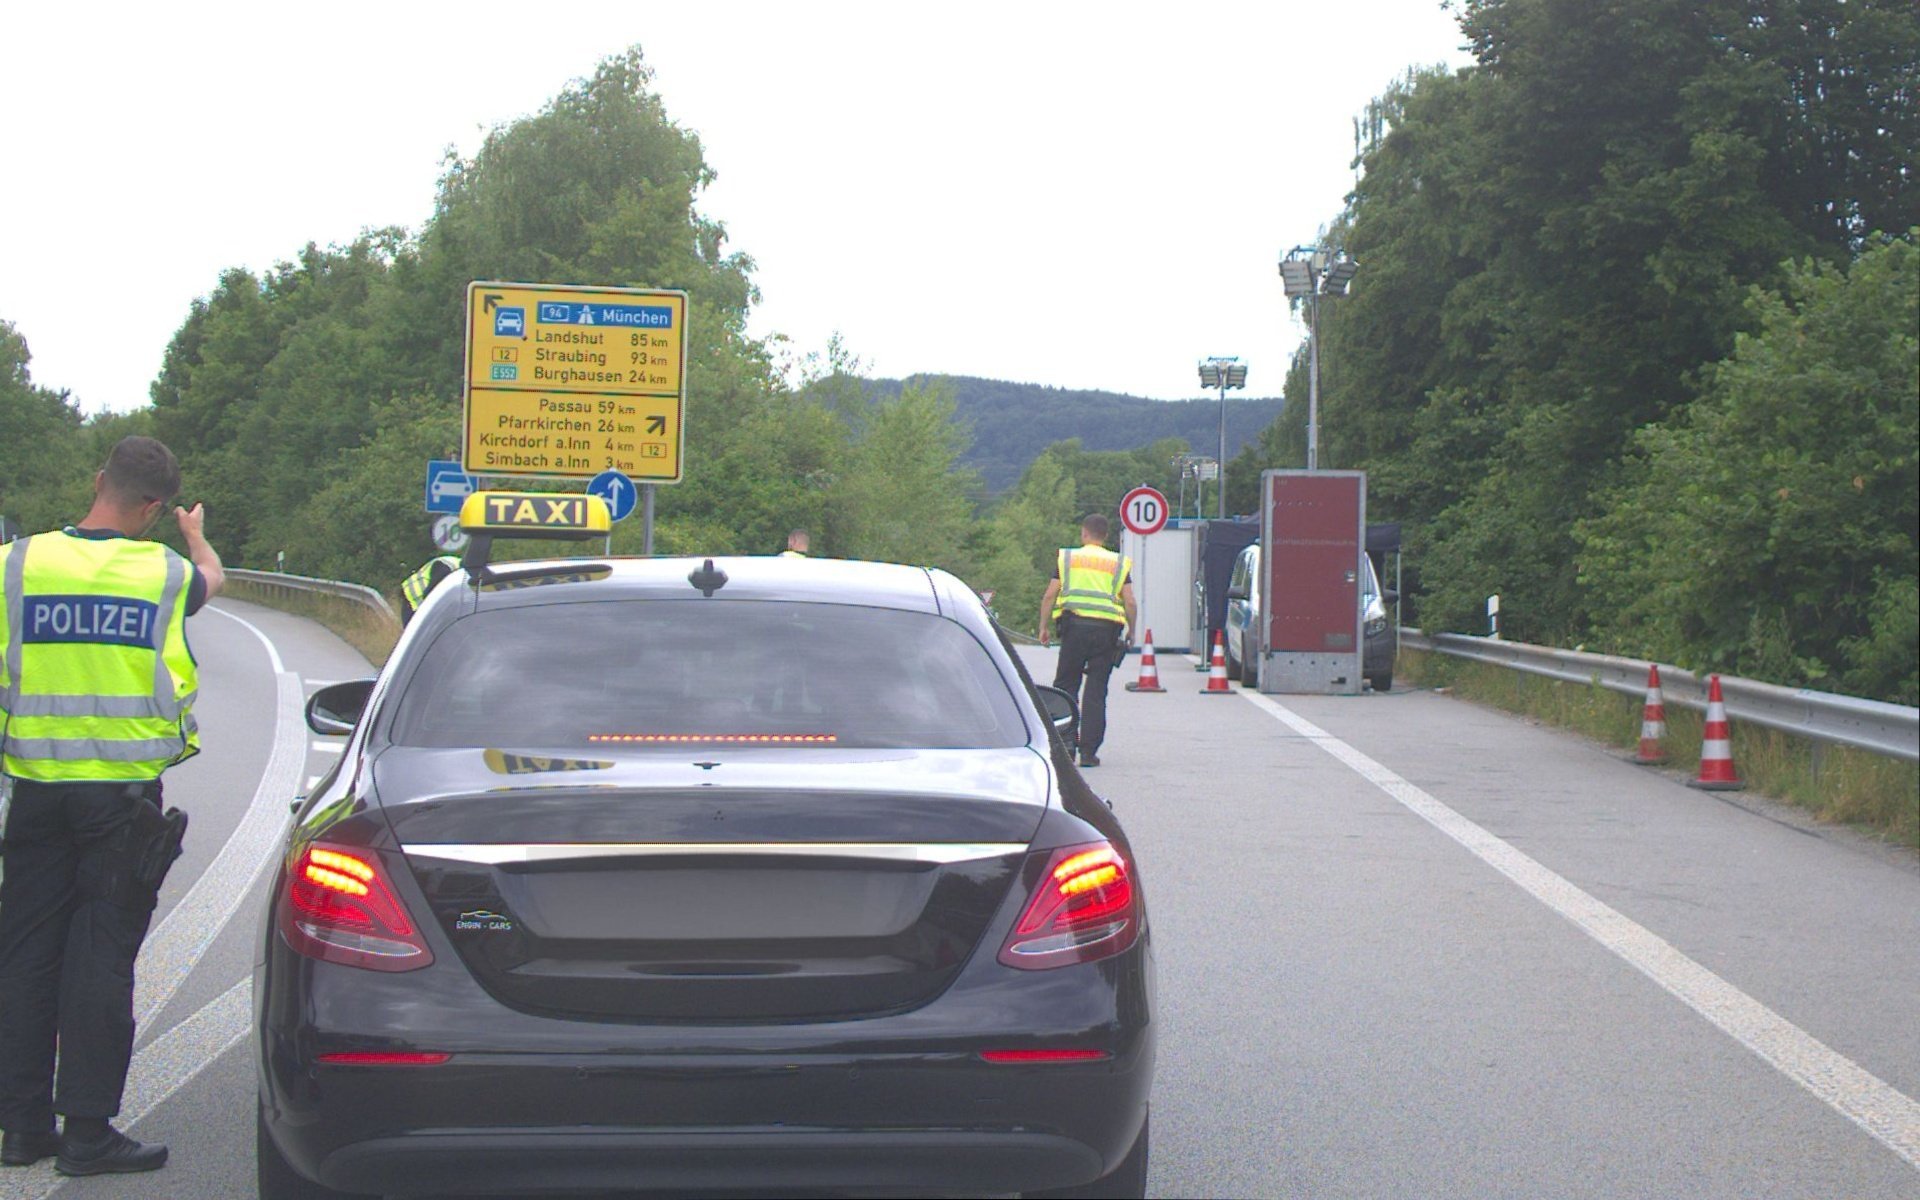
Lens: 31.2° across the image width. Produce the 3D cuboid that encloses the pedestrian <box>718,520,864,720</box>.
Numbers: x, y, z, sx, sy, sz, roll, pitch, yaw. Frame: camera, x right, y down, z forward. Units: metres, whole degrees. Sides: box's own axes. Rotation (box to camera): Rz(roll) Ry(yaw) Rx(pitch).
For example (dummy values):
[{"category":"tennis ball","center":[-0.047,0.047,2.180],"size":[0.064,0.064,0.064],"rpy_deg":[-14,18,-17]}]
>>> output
[{"category":"pedestrian","center":[-1.462,0.163,29.696],"size":[0.908,1.692,0.914],"rpy_deg":[0,1,-32]}]

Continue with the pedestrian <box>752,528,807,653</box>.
[{"category":"pedestrian","center":[-2.840,-0.151,54.140],"size":[0.664,1.954,0.759],"rpy_deg":[0,1,15]}]

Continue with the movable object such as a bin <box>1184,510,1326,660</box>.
[{"category":"movable object such as a bin","center":[4.646,-0.258,54.636],"size":[1.993,2.272,4.168],"rpy_deg":[1,1,2]}]

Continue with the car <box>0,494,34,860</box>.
[{"category":"car","center":[-5.385,0.381,15.038],"size":[1.868,1.737,4.009],"rpy_deg":[0,1,-4]}]

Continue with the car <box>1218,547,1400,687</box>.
[{"category":"car","center":[4.586,0.175,45.798],"size":[1.916,1.672,5.083],"rpy_deg":[2,1,1]}]

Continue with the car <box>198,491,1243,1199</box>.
[{"category":"car","center":[-0.617,0.571,8.321],"size":[1.855,1.589,4.376],"rpy_deg":[0,1,-5]}]

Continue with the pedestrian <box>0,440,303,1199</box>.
[{"category":"pedestrian","center":[-2.106,0.500,8.051],"size":[0.761,1.712,0.816],"rpy_deg":[1,1,37]}]

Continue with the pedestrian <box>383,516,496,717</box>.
[{"category":"pedestrian","center":[-4.650,0.136,30.774],"size":[0.910,1.763,0.912],"rpy_deg":[1,1,-3]}]

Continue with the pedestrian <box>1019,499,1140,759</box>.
[{"category":"pedestrian","center":[0.860,0.197,24.554],"size":[0.812,1.824,0.809],"rpy_deg":[0,1,5]}]

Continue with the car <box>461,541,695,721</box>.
[{"category":"car","center":[-3.349,0.223,30.783],"size":[1.855,1.493,4.257],"rpy_deg":[0,1,-3]}]
